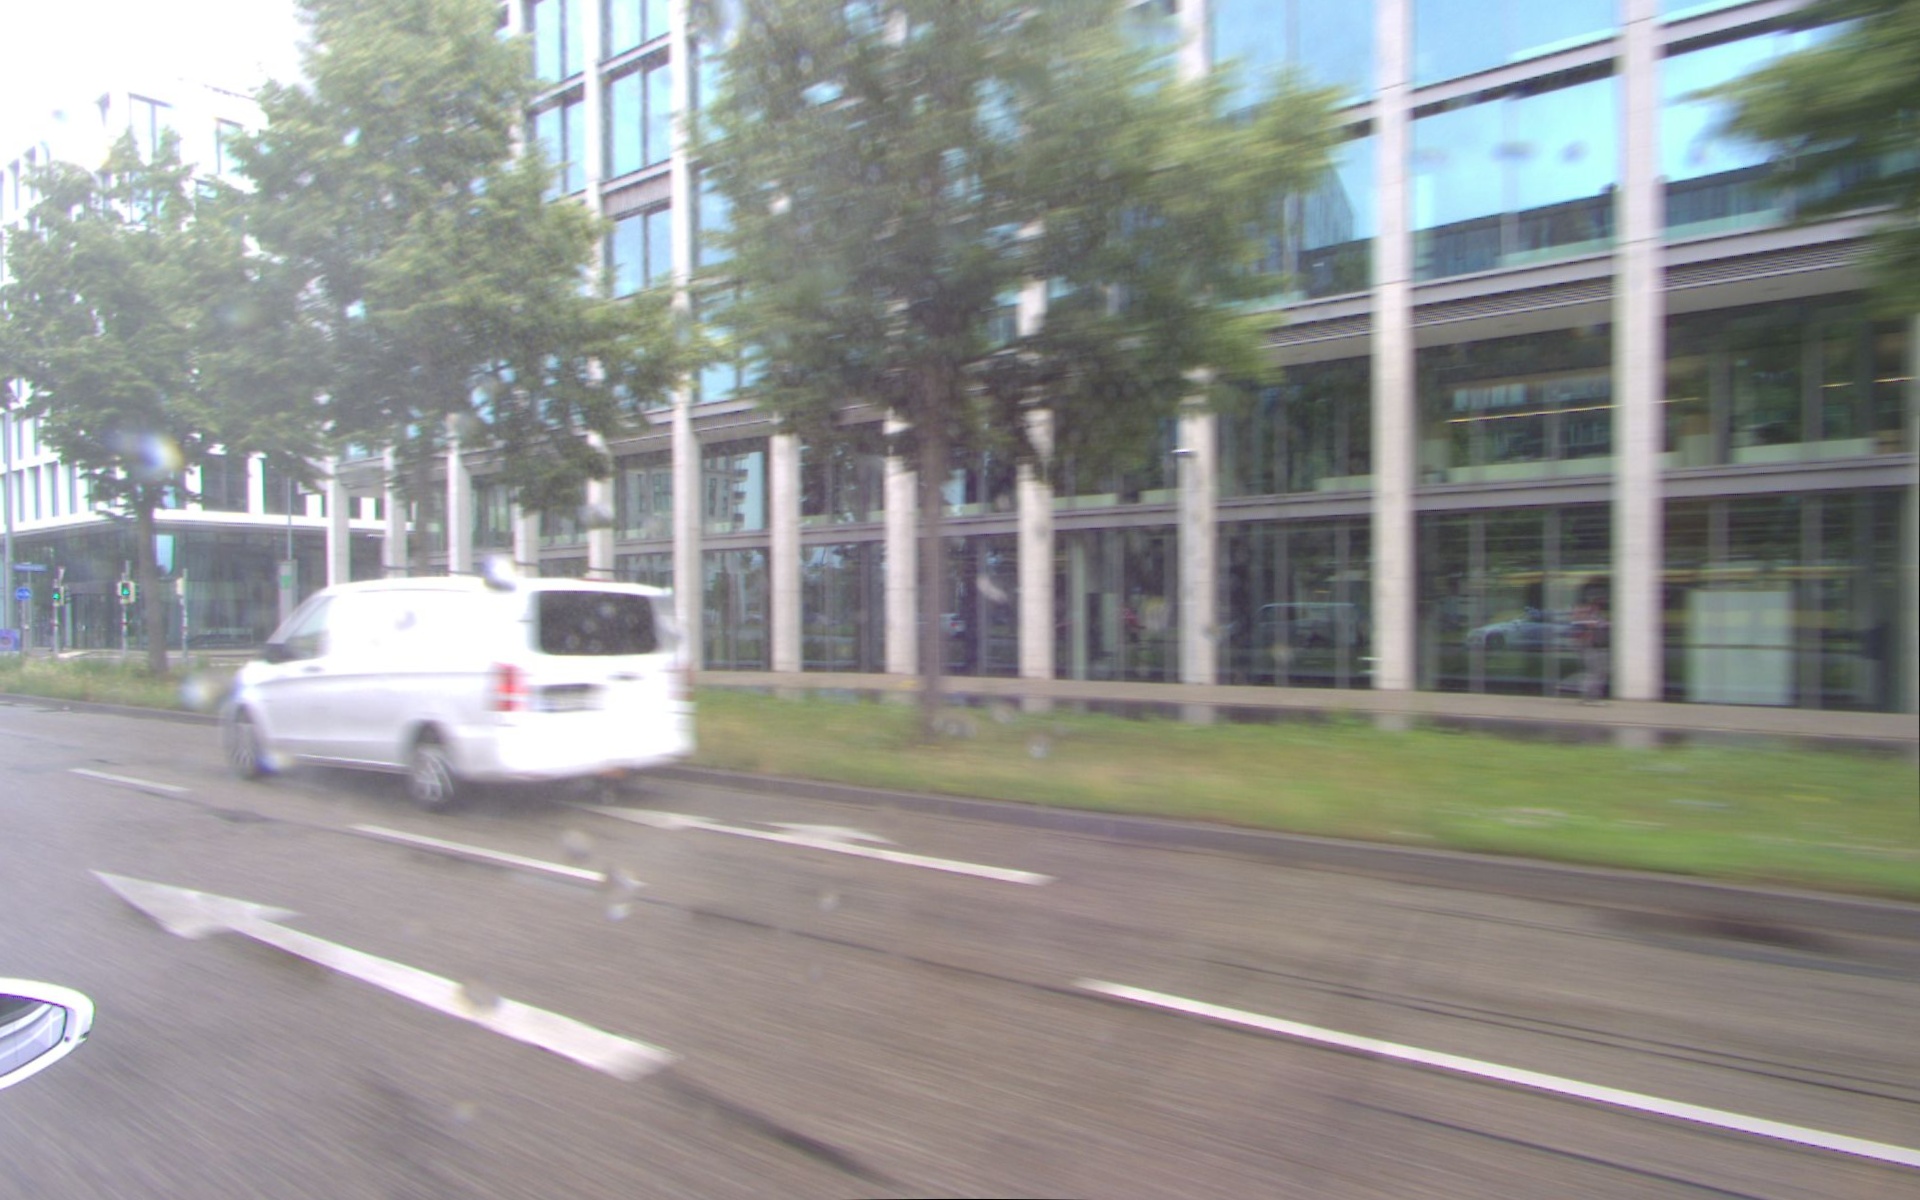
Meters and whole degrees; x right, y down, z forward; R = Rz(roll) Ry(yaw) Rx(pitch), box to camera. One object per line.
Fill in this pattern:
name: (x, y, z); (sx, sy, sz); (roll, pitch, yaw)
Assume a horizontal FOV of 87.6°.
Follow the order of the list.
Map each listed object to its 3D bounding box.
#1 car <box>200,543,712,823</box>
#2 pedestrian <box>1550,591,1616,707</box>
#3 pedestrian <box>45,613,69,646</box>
car: (-4.823, 0.663, 9.346); (5.018, 2.005, 1.964); (-1, -2, 32)
pedestrian: (9.631, 0.735, 15.502); (0.848, 1.738, 0.715); (0, 2, 31)
pedestrian: (-47.123, 1.541, 52.262); (0.772, 1.729, 0.677); (0, 0, 28)
